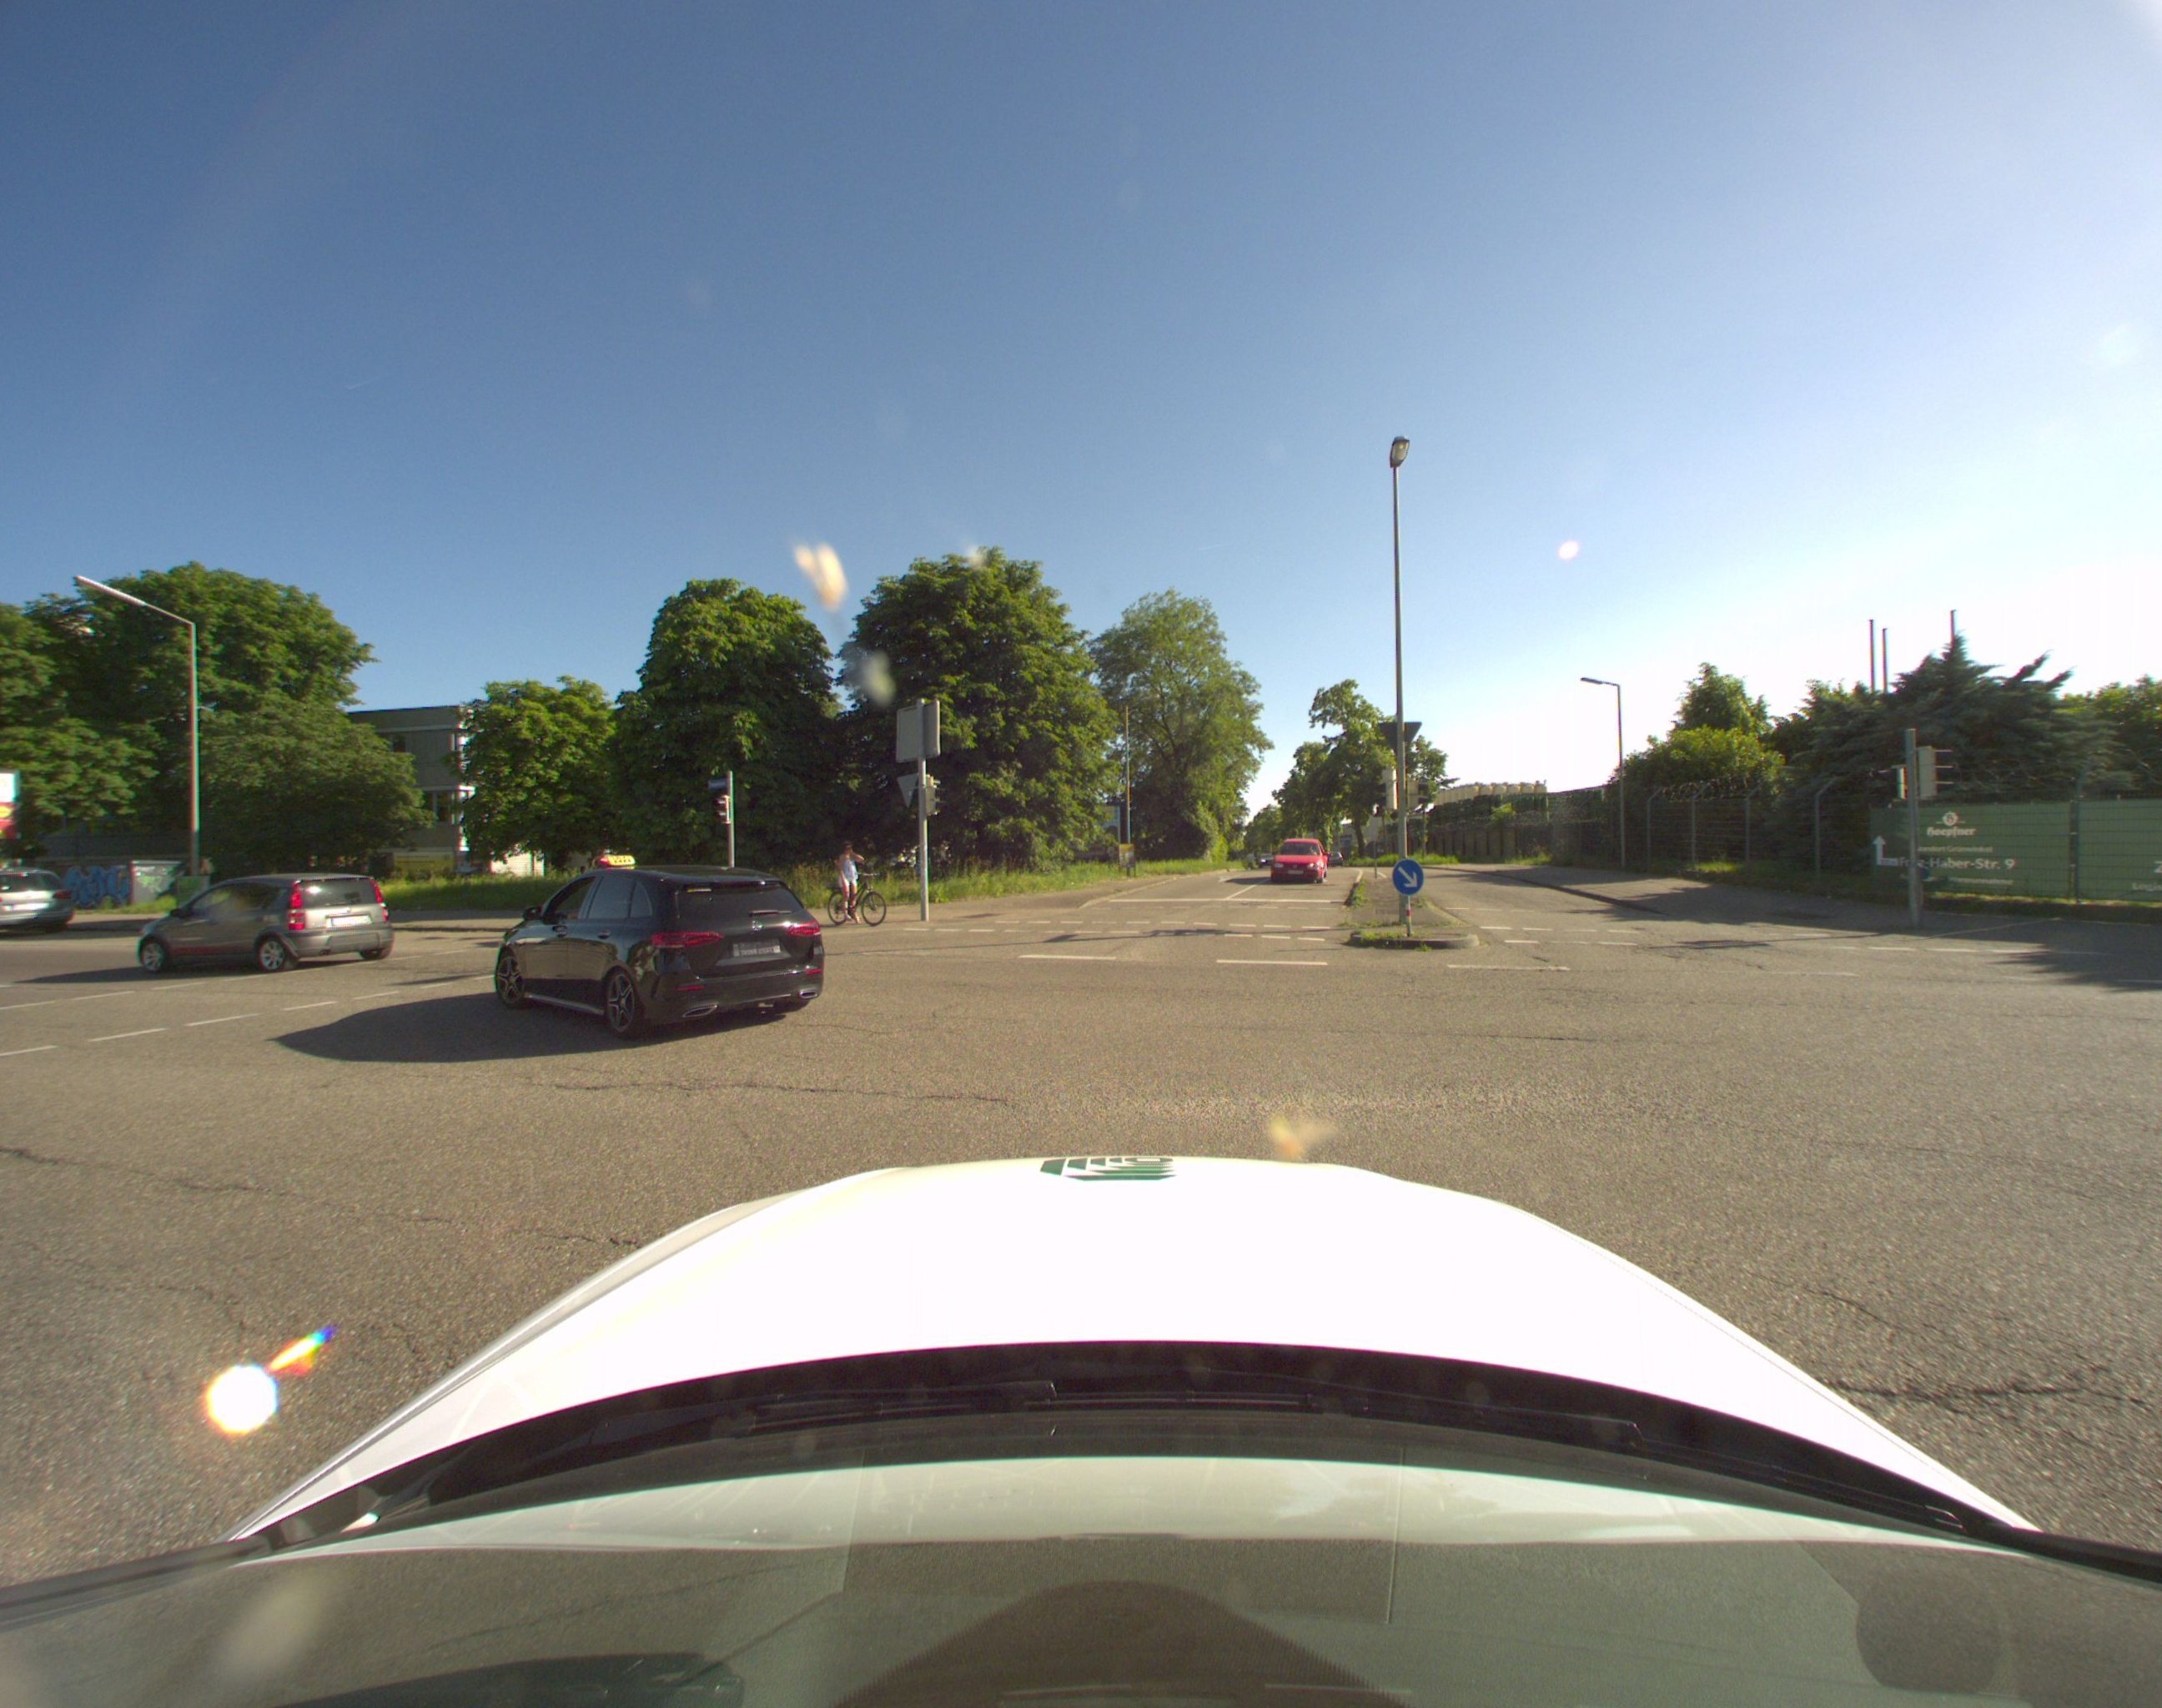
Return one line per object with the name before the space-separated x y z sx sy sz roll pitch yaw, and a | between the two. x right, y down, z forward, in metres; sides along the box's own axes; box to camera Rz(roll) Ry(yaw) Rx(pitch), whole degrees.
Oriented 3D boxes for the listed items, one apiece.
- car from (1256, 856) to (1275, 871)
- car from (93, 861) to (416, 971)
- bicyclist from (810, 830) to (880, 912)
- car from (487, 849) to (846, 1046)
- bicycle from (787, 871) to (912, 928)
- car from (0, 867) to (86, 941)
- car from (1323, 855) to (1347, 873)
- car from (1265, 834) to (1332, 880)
car | 19.192 1.008 84.937 1.845 1.470 4.151 -1 -1 11
car | -13.539 0.980 13.437 3.961 1.640 1.816 -2 -1 11
bicyclist | -5.056 0.359 17.455 1.175 1.693 0.898 -1 -1 35
car | -4.438 0.792 8.501 3.937 1.592 1.787 -2 -1 37
bicycle | -4.979 0.931 17.394 2.915 1.125 0.909 -1 -1 35
car | -28.384 1.288 20.805 4.564 1.722 1.886 -1 1 13
car | 24.216 0.914 77.696 1.679 1.632 3.138 -1 -1 8
car | 7.710 0.067 28.634 1.842 1.469 4.160 -2 1 20
